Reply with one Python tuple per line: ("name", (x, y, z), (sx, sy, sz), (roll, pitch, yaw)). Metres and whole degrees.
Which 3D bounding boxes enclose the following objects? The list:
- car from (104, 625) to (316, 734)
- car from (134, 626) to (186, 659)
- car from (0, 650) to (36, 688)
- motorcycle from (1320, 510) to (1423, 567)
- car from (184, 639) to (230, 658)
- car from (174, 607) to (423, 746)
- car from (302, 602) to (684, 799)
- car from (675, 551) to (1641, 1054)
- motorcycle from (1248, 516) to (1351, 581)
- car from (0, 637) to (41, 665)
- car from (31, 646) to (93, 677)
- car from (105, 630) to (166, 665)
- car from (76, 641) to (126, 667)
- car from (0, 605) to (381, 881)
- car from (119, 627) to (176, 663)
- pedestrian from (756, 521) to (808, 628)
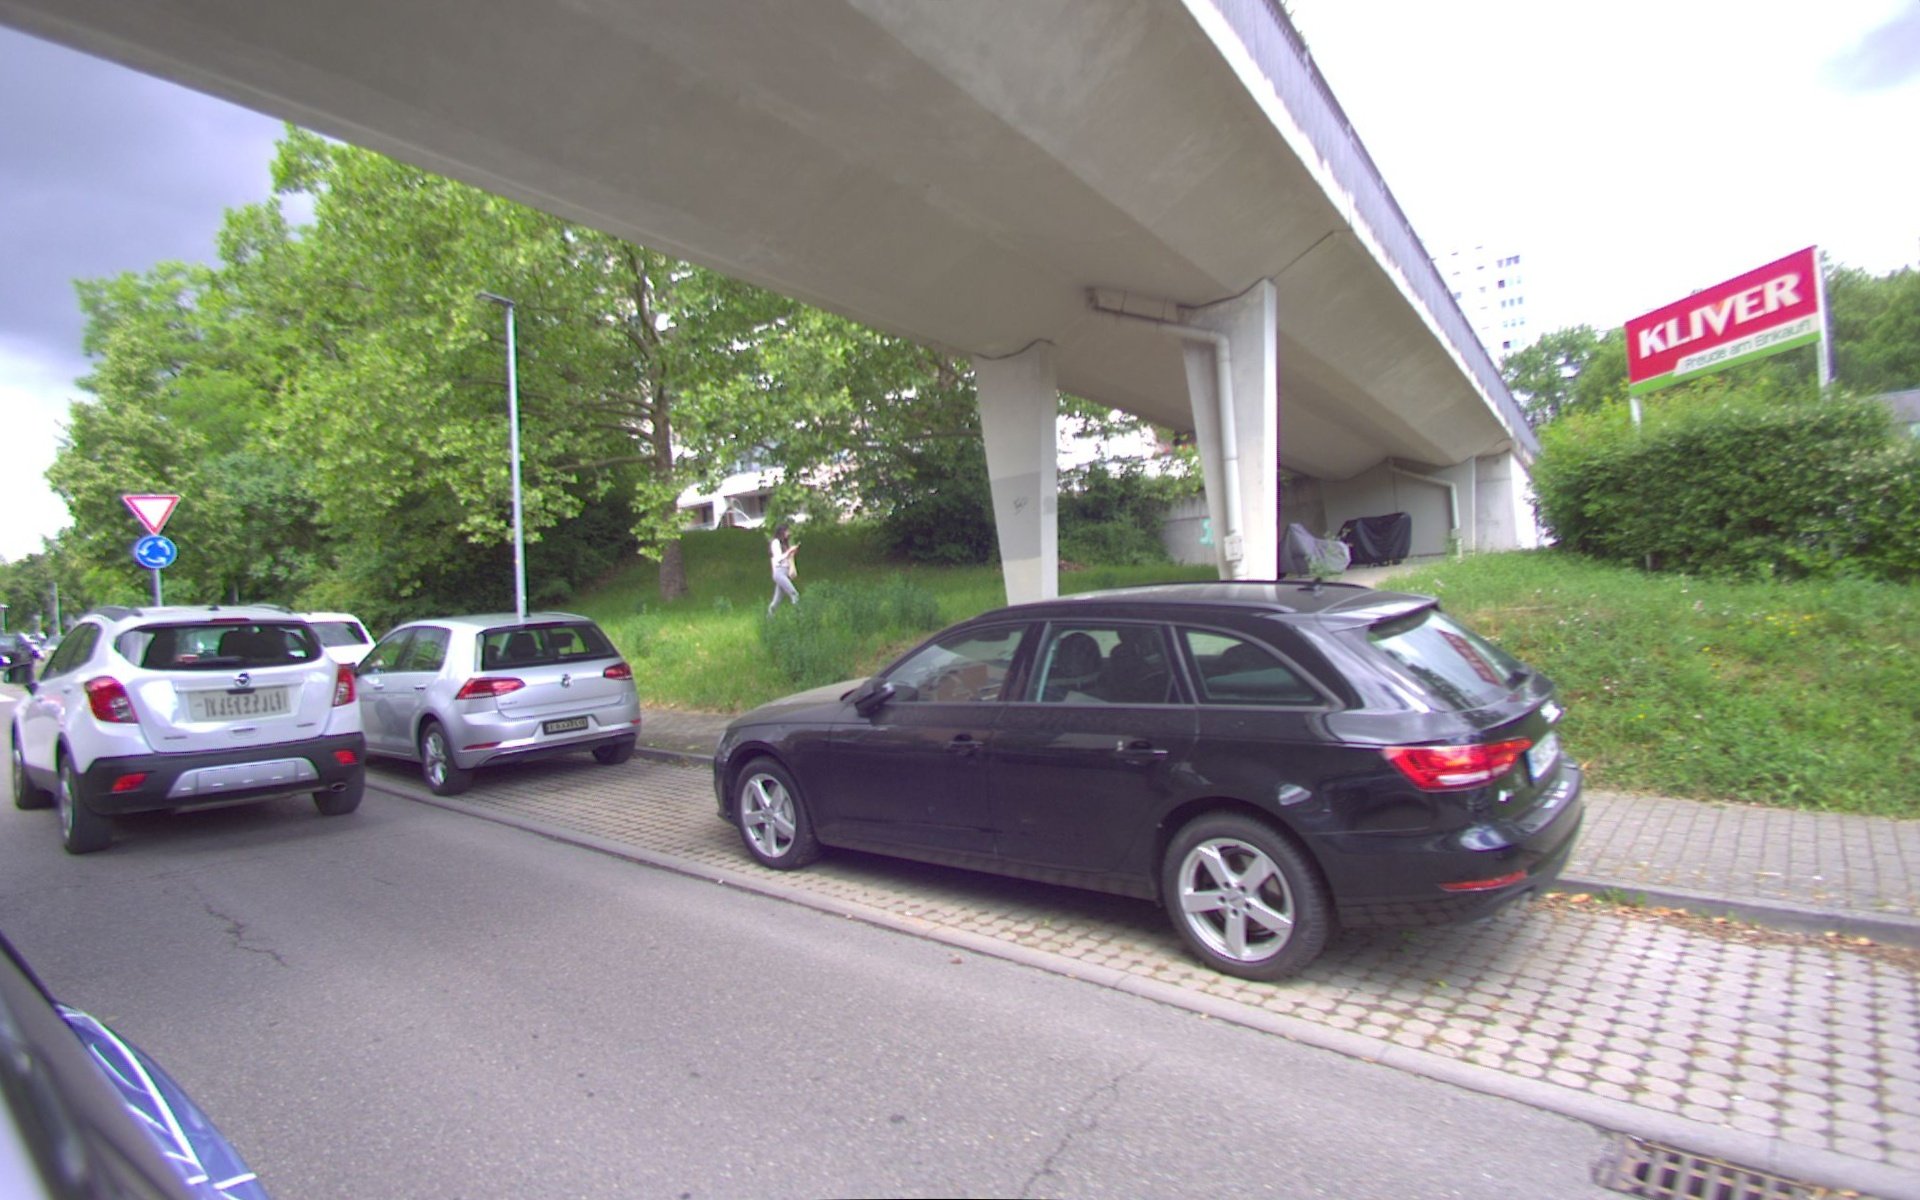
("car", (-12.255, 1.184, 16.463), (3.994, 1.479, 1.769), (0, -1, 38))
("car", (-46.778, 2.494, 59.267), (1.783, 1.676, 4.449), (-6, 1, -32))
("car", (-44.496, 3.210, 46.701), (1.730, 1.628, 4.013), (-3, 0, -27))
("motorcycle", (10.893, -1.606, 26.829), (2.312, 1.280, 0.875), (-4, -1, 37))
("car", (-77.919, 5.029, 104.719), (3.960, 1.652, 1.666), (-4, -1, 13))
("car", (-8.699, 0.880, 13.217), (3.546, 1.471, 1.864), (-1, 1, 42))
("car", (-4.619, 0.870, 9.752), (3.999, 1.438, 1.865), (-4, -1, 42))
("car", (0.718, 0.650, 5.164), (4.445, 1.520, 1.867), (-2, 0, 38))
("motorcycle", (7.603, -1.136, 22.794), (0.871, 1.280, 2.052), (-3, -1, -31))
("car", (-58.674, 3.148, 61.679), (3.619, 1.659, 1.857), (-1, -2, -30))
("car", (-53.016, 3.619, 59.836), (1.730, 1.628, 4.013), (-3, 0, -27))
("car", (-40.691, 2.342, 50.014), (1.667, 1.475, 4.469), (-6, 1, -32))
("car", (-60.159, 3.777, 70.930), (1.730, 1.628, 4.013), (-3, 0, -27))
("car", (-6.293, 0.921, 7.995), (4.049, 1.623, 1.730), (-3, -1, 41))
("car", (-43.740, 2.383, 54.559), (1.775, 1.627, 4.491), (-6, 2, -32))
("pedestrian", (-2.993, -0.418, 16.981), (0.648, 1.734, 0.742), (-3, -1, -19))
